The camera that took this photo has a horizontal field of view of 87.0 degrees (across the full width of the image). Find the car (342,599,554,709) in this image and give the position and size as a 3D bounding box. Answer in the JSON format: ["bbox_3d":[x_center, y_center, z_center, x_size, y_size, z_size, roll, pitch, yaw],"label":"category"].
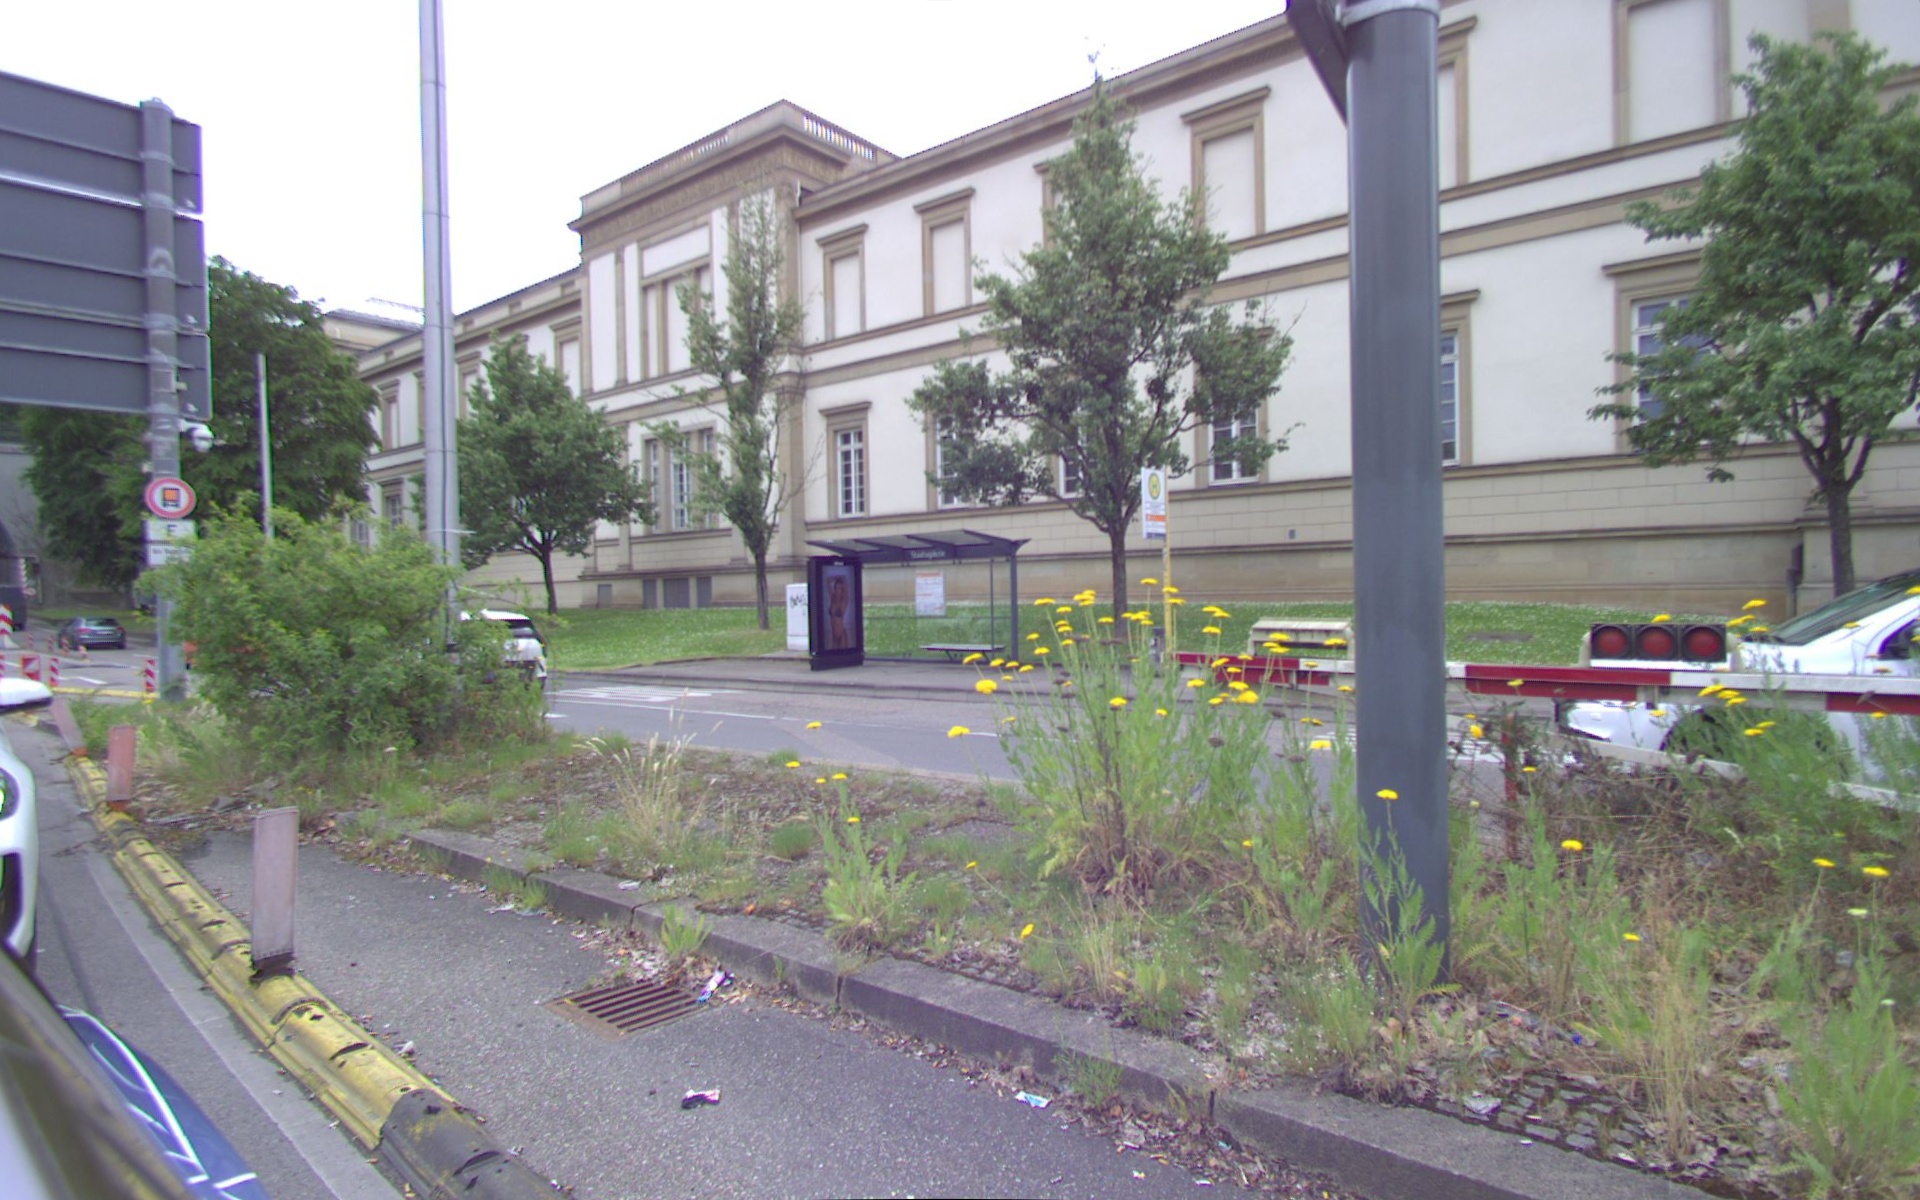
[{"bbox_3d":[-9.176,0.877,17.998,4.265,1.704,1.851,-1,0,40],"label":"car"}]

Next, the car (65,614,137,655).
[{"bbox_3d":[-36.877,1.452,43.429,3.800,1.630,1.756,-1,0,40],"label":"car"}]

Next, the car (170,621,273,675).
[{"bbox_3d":[-22.176,1.397,30.363,3.570,1.489,1.626,-1,-1,39],"label":"car"}]

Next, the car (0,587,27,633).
[{"bbox_3d":[-53.970,0.565,56.696,4.758,2.527,2.174,-1,0,43],"label":"car"}]

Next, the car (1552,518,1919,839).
[{"bbox_3d":[5.843,0.383,5.745,4.085,1.637,1.888,-2,-1,26],"label":"car"}]

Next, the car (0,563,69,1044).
[{"bbox_3d":[-5.174,0.716,4.046,3.668,1.637,1.962,-1,0,41],"label":"car"}]
